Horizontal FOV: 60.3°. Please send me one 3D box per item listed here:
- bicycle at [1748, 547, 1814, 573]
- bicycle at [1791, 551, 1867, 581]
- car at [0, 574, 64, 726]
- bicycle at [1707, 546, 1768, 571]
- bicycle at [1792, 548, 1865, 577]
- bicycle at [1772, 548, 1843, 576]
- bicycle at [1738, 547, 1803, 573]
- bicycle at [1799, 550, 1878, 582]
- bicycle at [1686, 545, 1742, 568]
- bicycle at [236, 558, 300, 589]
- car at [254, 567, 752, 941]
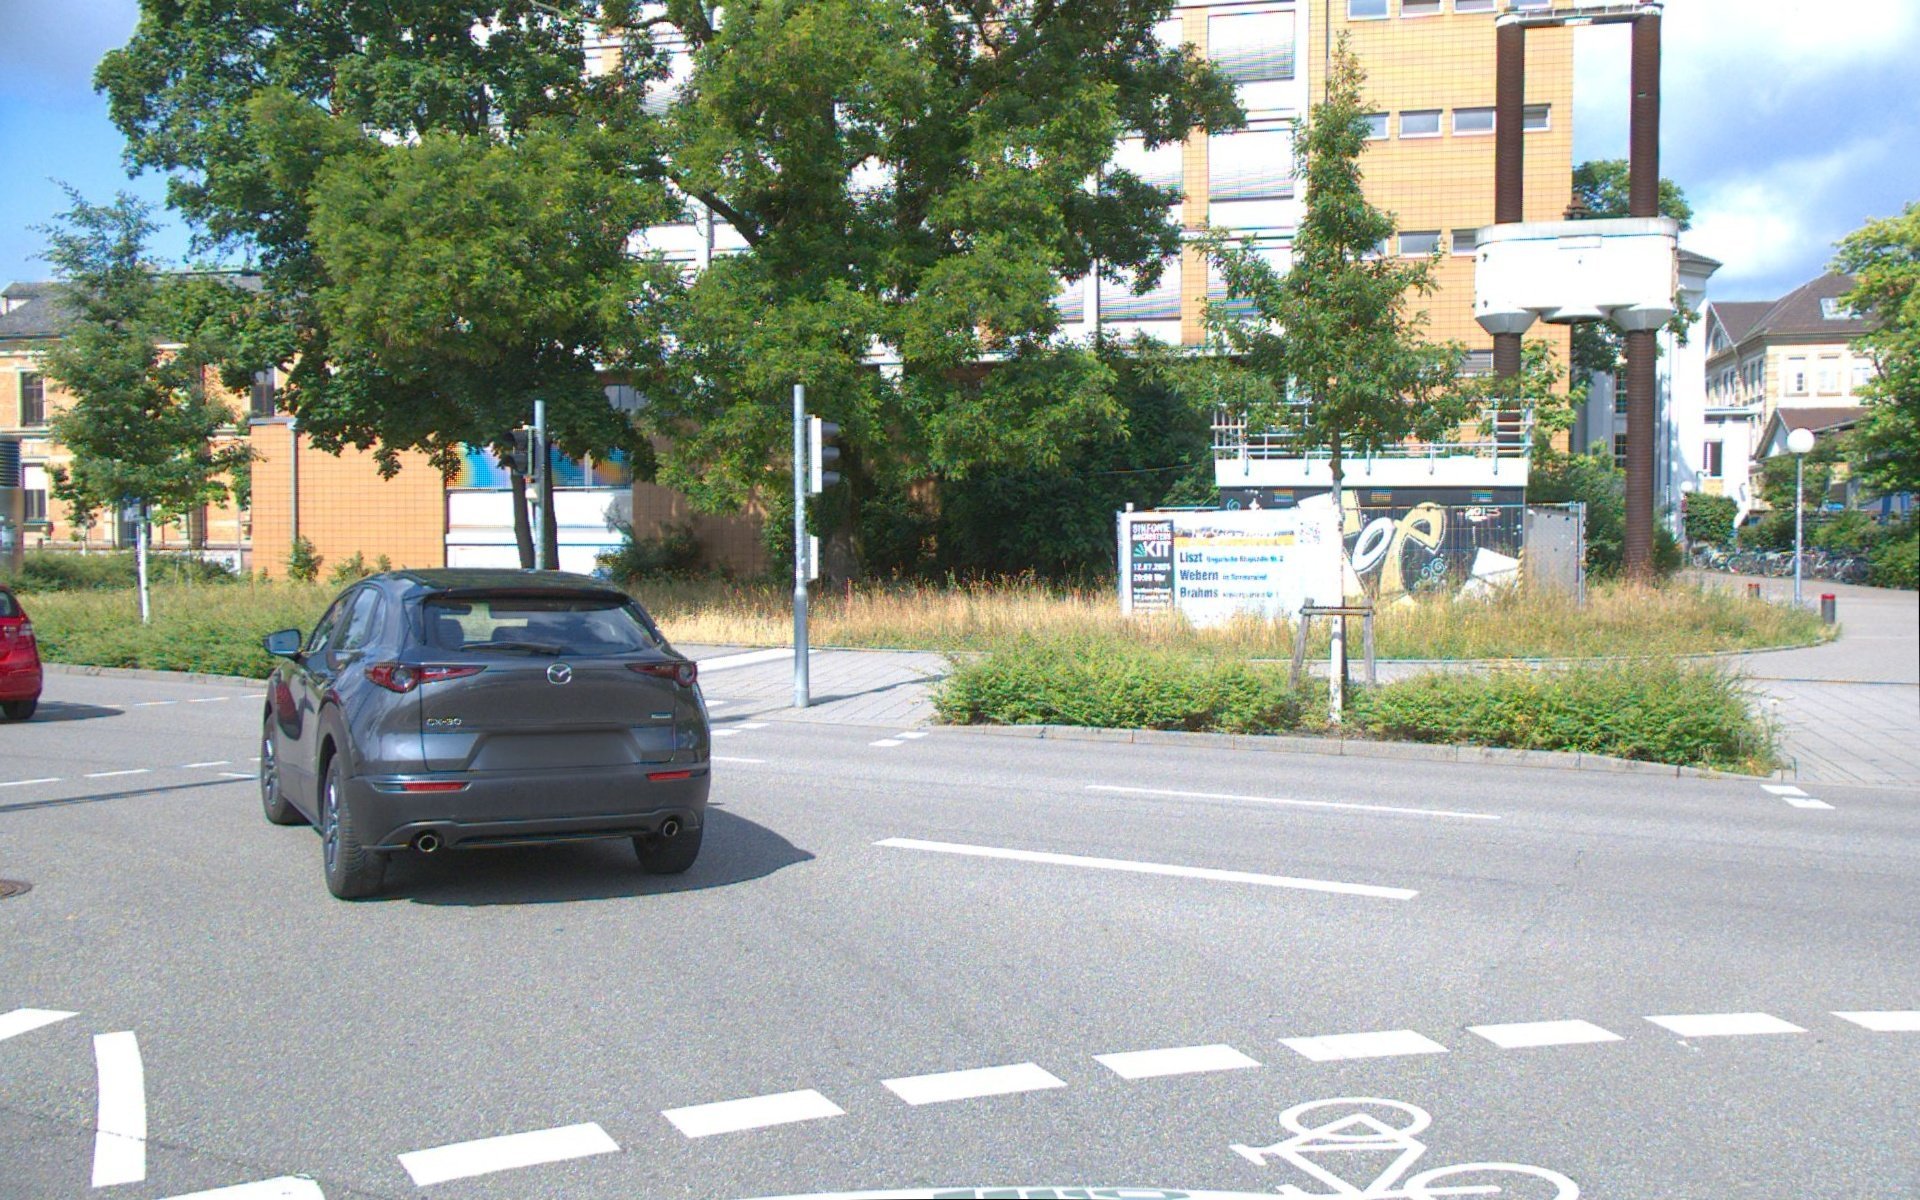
[{"bbox_3d":[29.741,-1.446,59.948,2.011,0.952,0.805,0,2,13],"label":"bicycle"},{"bbox_3d":[27.729,-1.079,52.810,2.011,0.952,0.805,0,2,13],"label":"bicycle"},{"bbox_3d":[-11.031,0.446,17.124,3.994,1.464,1.812,1,0,41],"label":"car"},{"bbox_3d":[30.422,-1.625,64.749,2.011,0.952,0.805,0,2,13],"label":"bicycle"},{"bbox_3d":[28.984,-1.248,55.219,2.011,0.952,0.805,0,2,13],"label":"bicycle"},{"bbox_3d":[29.001,-1.313,56.610,2.011,0.952,0.805,0,2,13],"label":"bicycle"},{"bbox_3d":[29.866,-1.491,60.991,2.011,0.952,0.805,0,2,13],"label":"bicycle"},{"bbox_3d":[27.243,-1.059,51.307,2.011,0.952,0.805,0,2,13],"label":"bicycle"},{"bbox_3d":[31.628,-1.829,69.417,2.011,0.952,0.805,0,2,13],"label":"bicycle"},{"bbox_3d":[-24.541,-0.933,58.664,2.021,1.091,0.667,0,1,5],"label":"bicycle"},{"bbox_3d":[-2.714,0.604,9.059,1.785,1.534,4.166,0,1,-28],"label":"car"}]
